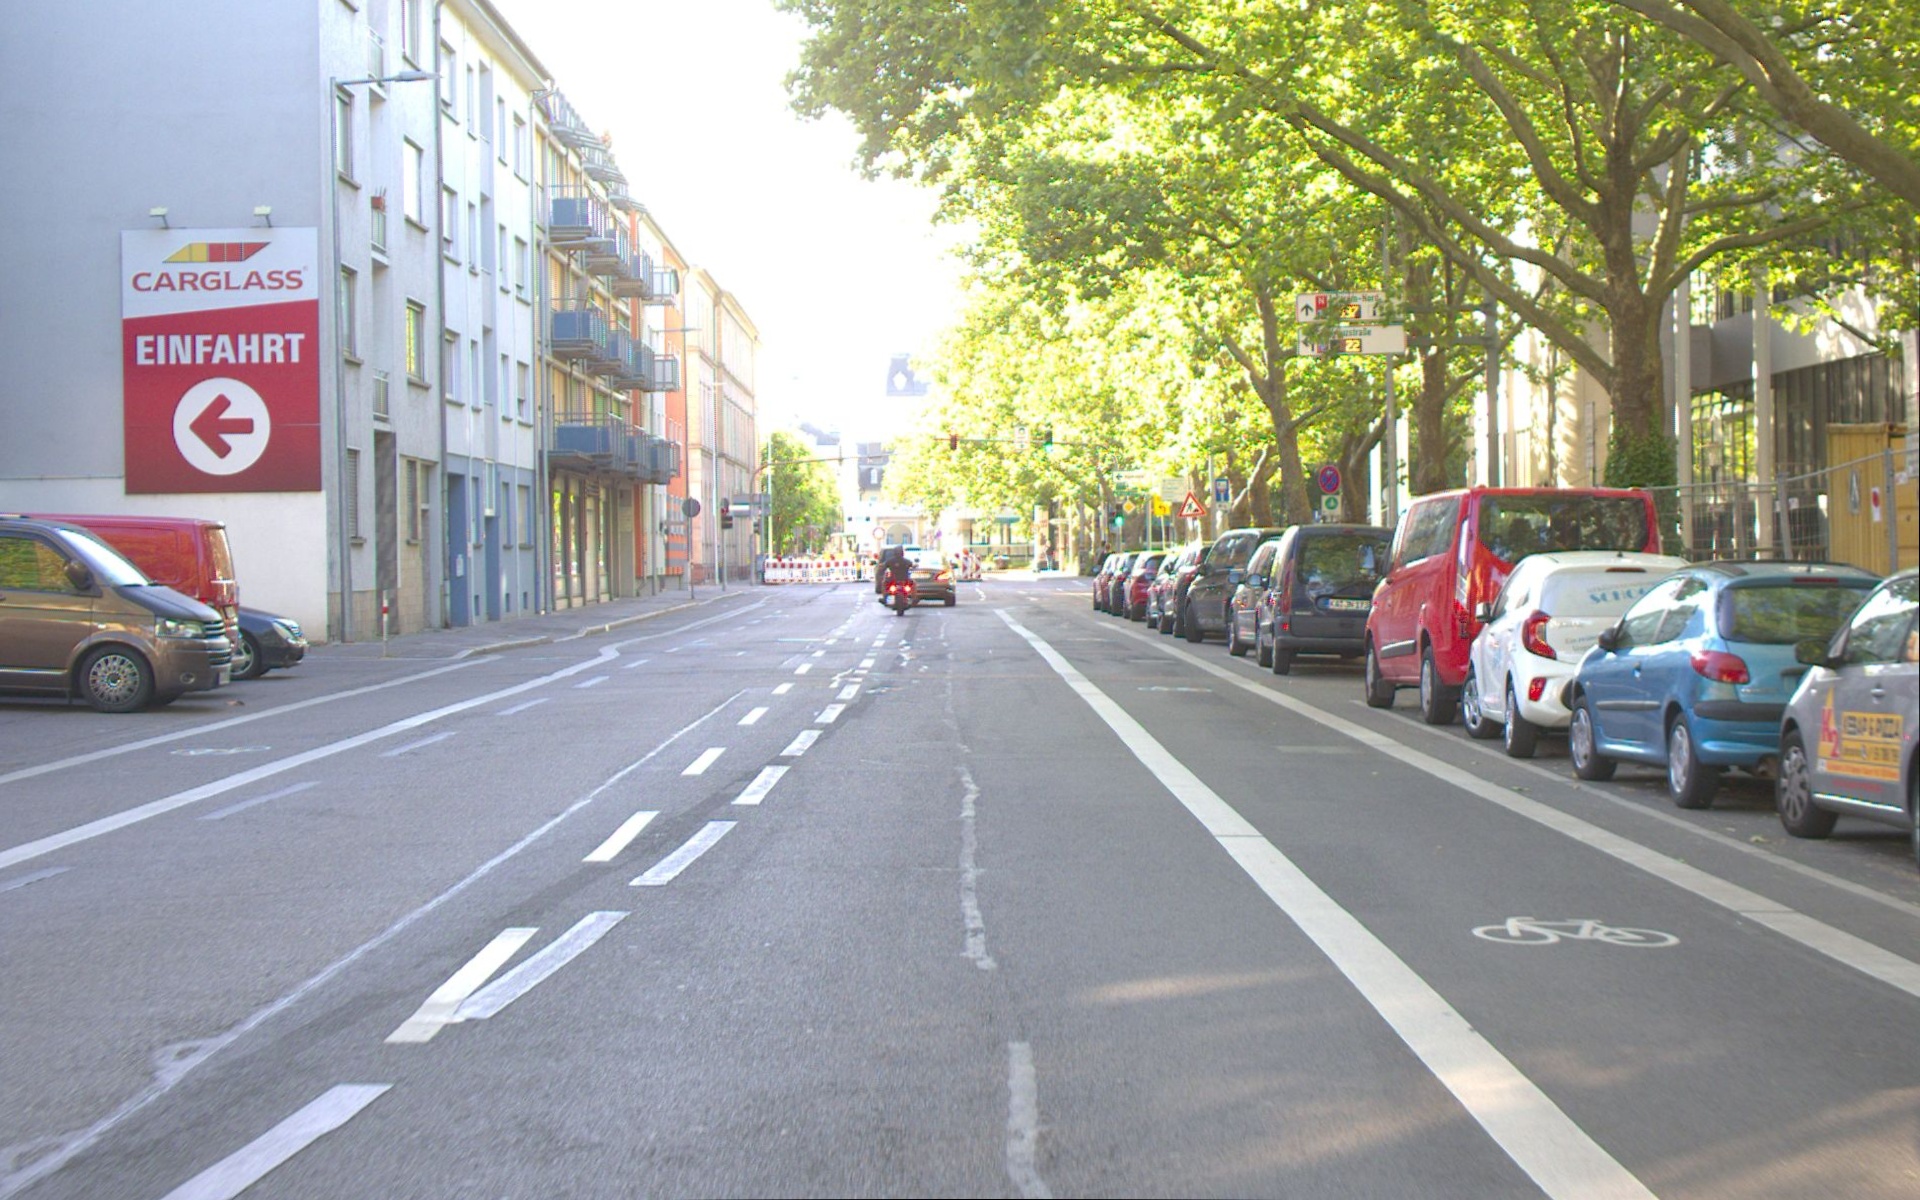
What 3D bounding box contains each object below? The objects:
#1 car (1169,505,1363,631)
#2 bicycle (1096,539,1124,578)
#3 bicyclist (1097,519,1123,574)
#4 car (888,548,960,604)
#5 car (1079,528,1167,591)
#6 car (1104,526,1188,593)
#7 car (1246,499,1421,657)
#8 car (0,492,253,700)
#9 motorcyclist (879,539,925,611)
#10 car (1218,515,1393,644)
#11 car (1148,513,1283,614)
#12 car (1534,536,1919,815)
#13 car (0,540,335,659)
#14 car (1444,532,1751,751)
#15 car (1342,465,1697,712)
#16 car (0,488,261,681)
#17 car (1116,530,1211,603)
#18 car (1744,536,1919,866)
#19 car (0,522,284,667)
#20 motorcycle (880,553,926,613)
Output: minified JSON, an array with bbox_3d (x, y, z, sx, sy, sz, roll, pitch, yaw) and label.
[{"bbox_3d":[4.686,-0.528,53.380,1.824,1.835,4.901,1,1,-9],"label":"car"},{"bbox_3d":[4.201,-1.160,96.309,0.656,1.066,1.927,1,1,-1],"label":"bicycle"},{"bbox_3d":[4.207,-1.498,96.373,0.656,1.525,0.852,1,1,-1],"label":"bicyclist"},{"bbox_3d":[-0.960,-0.655,90.250,1.828,1.415,3.815,0,1,-1],"label":"car"},{"bbox_3d":[3.935,-1.004,83.456,1.692,1.444,4.437,1,1,-3],"label":"car"},{"bbox_3d":[4.218,-0.940,78.577,1.693,1.461,4.065,1,1,0],"label":"car"},{"bbox_3d":[4.503,-0.294,41.963,1.693,1.806,4.130,1,1,1],"label":"car"},{"bbox_3d":[-9.510,-0.101,34.127,4.522,1.945,2.057,2,1,0],"label":"car"},{"bbox_3d":[-1.317,-0.576,78.014,1.012,1.596,1.406,-1,1,-1],"label":"motorcyclist"},{"bbox_3d":[4.629,-0.310,46.586,1.692,1.622,4.331,1,1,-3],"label":"car"},{"bbox_3d":[4.324,-0.648,58.794,1.775,1.622,4.621,1,1,-2],"label":"car"},{"bbox_3d":[4.943,0.398,21.364,1.855,1.505,3.930,2,1,-3],"label":"car"},{"bbox_3d":[-9.997,-0.023,42.321,4.228,1.375,2.046,1,1,0],"label":"car"},{"bbox_3d":[4.724,0.255,25.926,1.637,1.480,3.760,1,1,1],"label":"car"},{"bbox_3d":[4.865,-0.143,30.704,2.078,1.987,5.172,1,1,-3],"label":"car"},{"bbox_3d":[-9.957,-0.213,36.941,4.421,1.945,2.146,2,1,0],"label":"car"},{"bbox_3d":[4.303,-0.740,73.124,1.693,1.474,4.319,1,1,-1],"label":"car"},{"bbox_3d":[5.132,0.450,16.973,1.613,1.470,3.493,1,1,-1],"label":"car"},{"bbox_3d":[-10.155,-0.096,40.015,4.173,1.558,1.886,2,1,0],"label":"car"},{"bbox_3d":[-1.302,-0.396,77.923,1.012,1.302,2.673,-1,1,-1],"label":"motorcycle"}]
